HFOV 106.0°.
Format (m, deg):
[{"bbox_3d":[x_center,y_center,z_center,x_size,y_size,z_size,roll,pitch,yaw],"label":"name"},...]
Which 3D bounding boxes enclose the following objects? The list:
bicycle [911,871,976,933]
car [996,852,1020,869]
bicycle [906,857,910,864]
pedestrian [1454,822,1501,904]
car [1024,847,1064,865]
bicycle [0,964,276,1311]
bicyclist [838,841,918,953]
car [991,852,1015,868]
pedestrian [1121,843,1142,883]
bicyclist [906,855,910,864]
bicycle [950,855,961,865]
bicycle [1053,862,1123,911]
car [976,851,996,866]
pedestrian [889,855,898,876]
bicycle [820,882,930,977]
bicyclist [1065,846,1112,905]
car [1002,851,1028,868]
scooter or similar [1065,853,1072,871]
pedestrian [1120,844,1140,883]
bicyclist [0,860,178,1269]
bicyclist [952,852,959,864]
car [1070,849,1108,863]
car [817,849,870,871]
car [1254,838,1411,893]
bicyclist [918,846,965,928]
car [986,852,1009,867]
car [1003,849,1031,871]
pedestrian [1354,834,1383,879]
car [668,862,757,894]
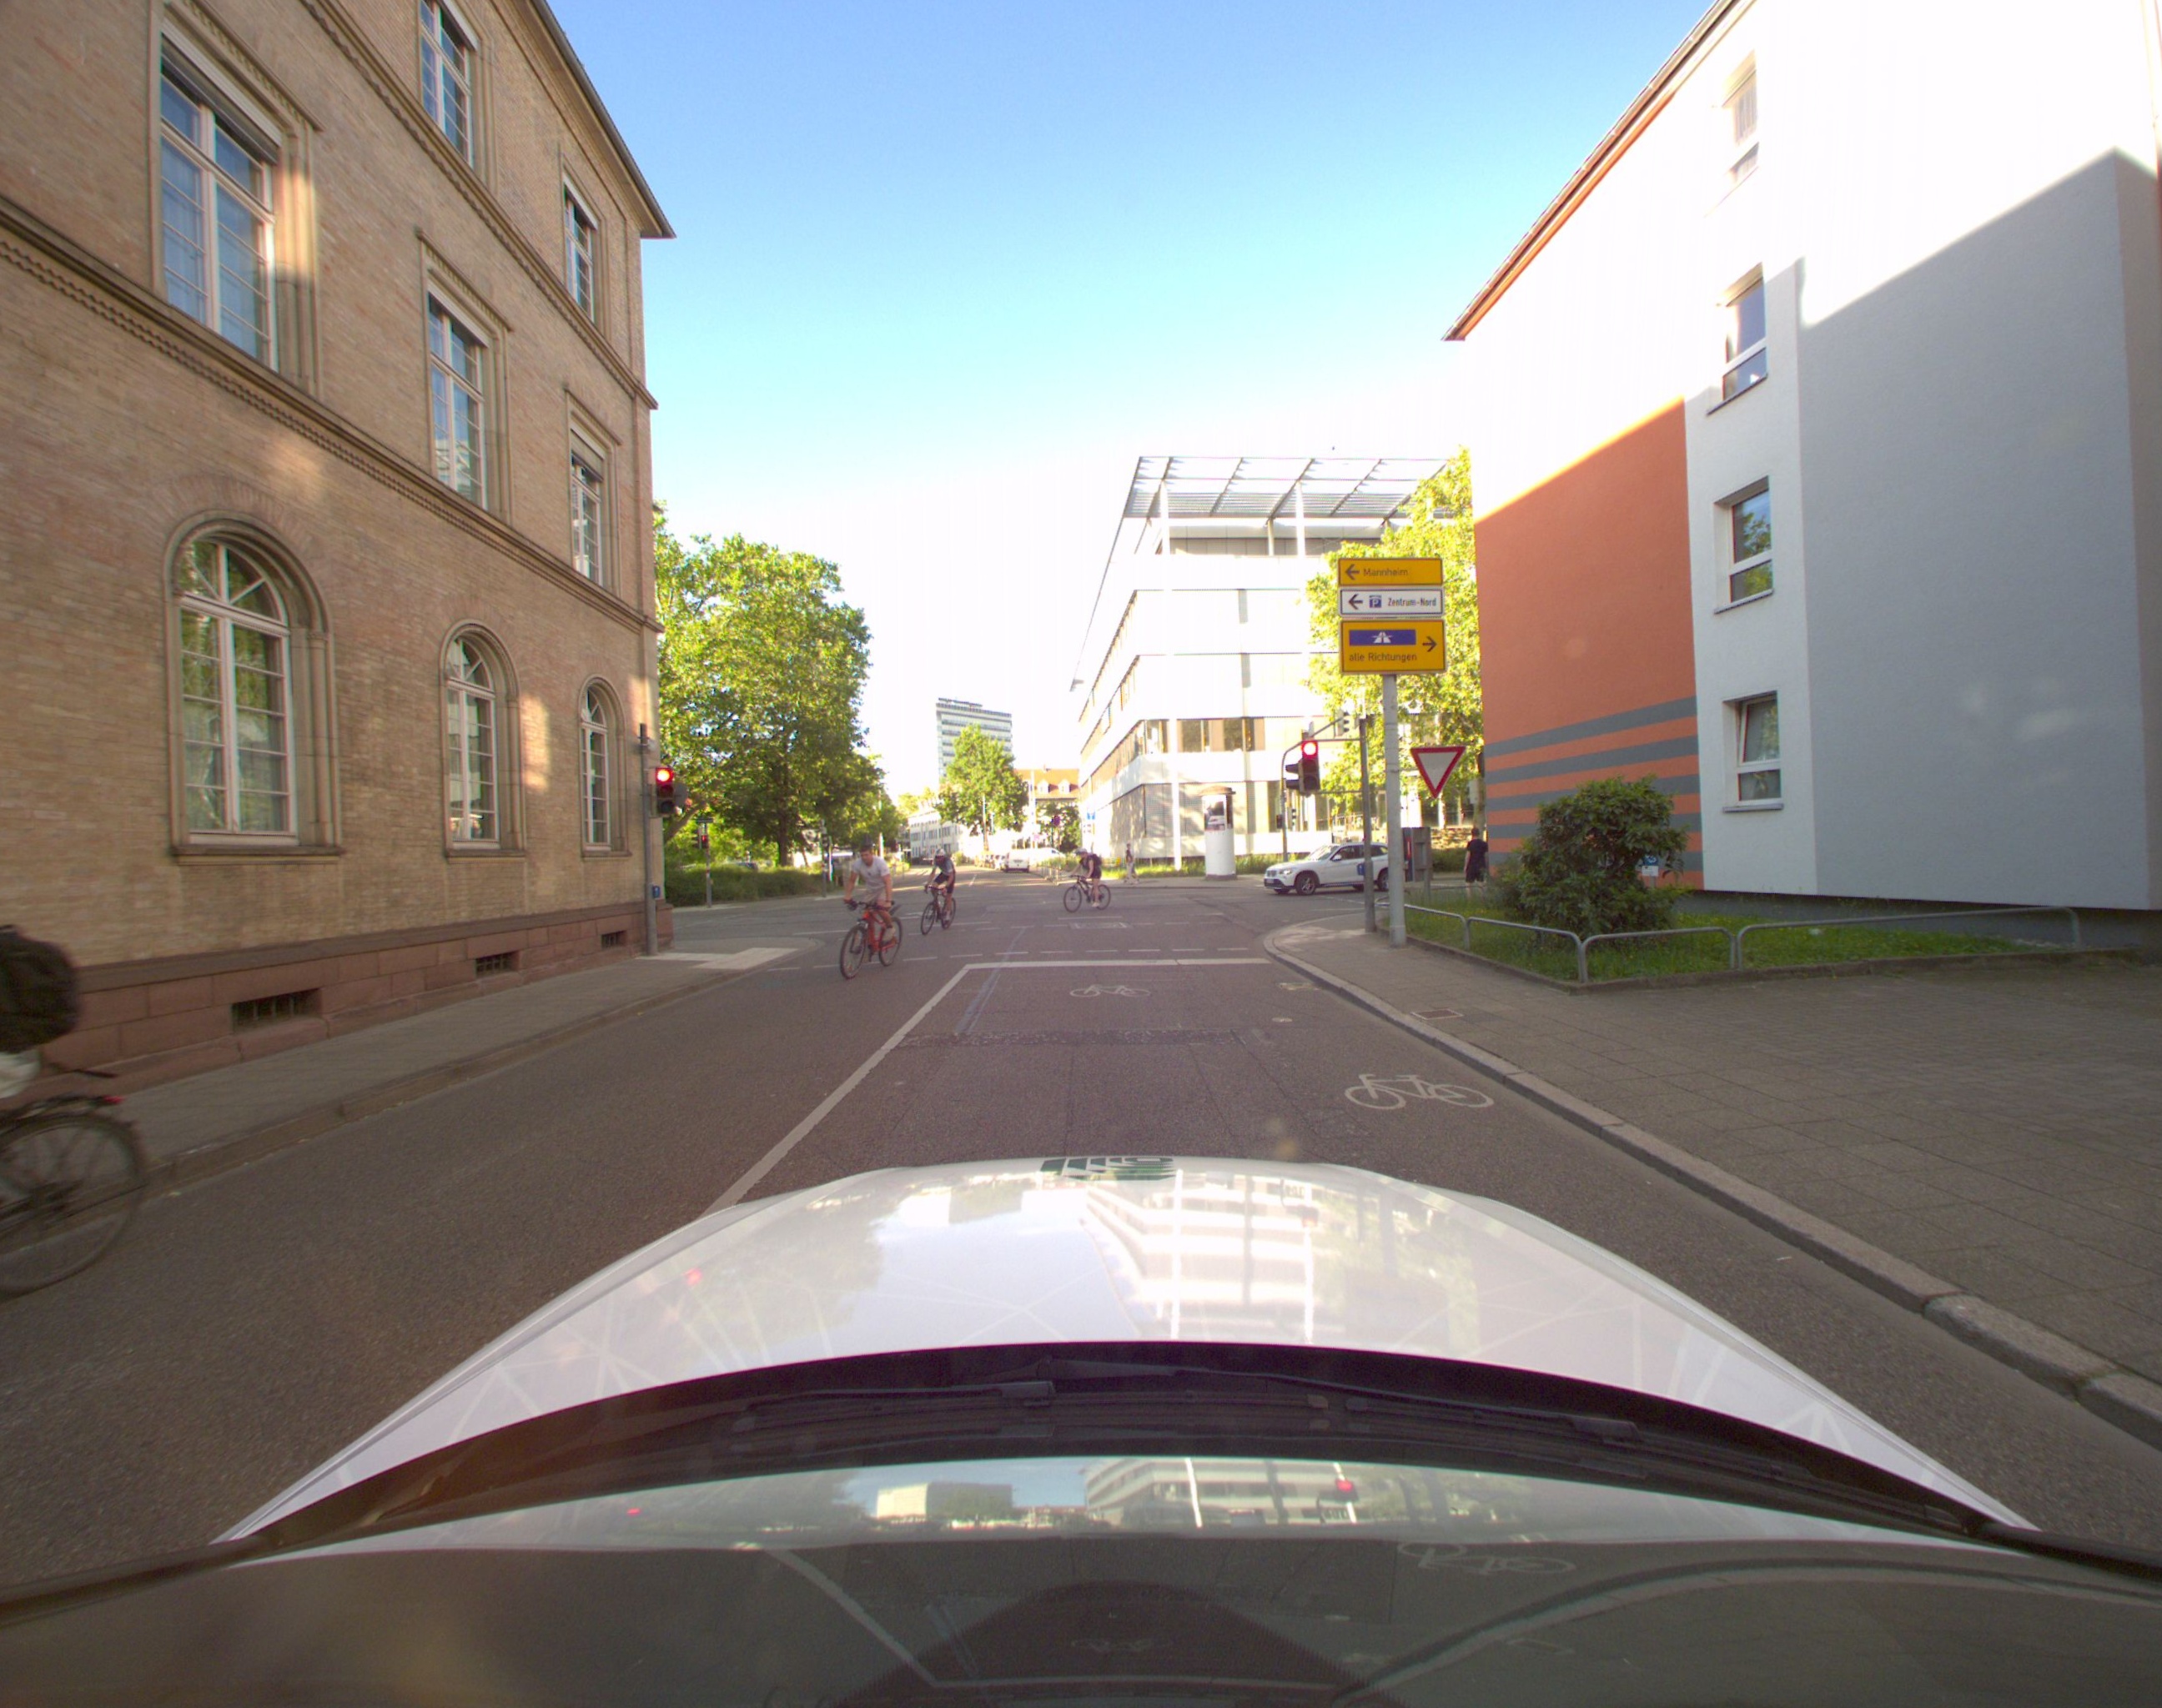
[{"bbox_3d":[-2.821,0.960,16.894,0.621,1.152,1.791,-2,0,14],"label":"bicycle"},{"bbox_3d":[-6.918,0.608,77.154,1.993,1.499,4.638,0,-1,-8],"label":"car"},{"bbox_3d":[-29.499,1.175,138.977,0.616,1.152,1.961,-2,0,-13],"label":"bicycle"},{"bbox_3d":[9.017,0.211,18.518,0.723,1.810,0.693,0,-1,-39],"label":"pedestrian"},{"bbox_3d":[-4.682,0.270,103.251,4.802,2.159,1.989,0,-1,-16],"label":"car"},{"bbox_3d":[-4.350,1.142,3.101,0.589,1.152,1.969,-2,0,-1],"label":"bicycle"},{"bbox_3d":[-2.881,0.594,11.650,0.697,1.522,0.922,-2,0,14],"label":"bicyclist"},{"bbox_3d":[-7.841,0.585,81.628,1.994,1.499,4.270,0,-1,-11],"label":"car"},{"bbox_3d":[2.318,0.411,37.277,0.758,1.795,0.651,-1,-1,19],"label":"pedestrian"},{"bbox_3d":[-29.505,0.909,138.944,0.616,1.472,0.737,-2,0,-13],"label":"bicyclist"},{"bbox_3d":[-15.548,0.764,100.803,0.586,1.152,1.977,-2,0,13],"label":"bicycle"},{"bbox_3d":[0.197,0.807,20.778,1.793,1.152,0.620,-2,0,-40],"label":"bicycle"},{"bbox_3d":[-11.299,0.537,96.305,1.995,1.725,4.633,0,-1,-11],"label":"car"},{"bbox_3d":[-14.750,0.894,64.005,0.700,1.587,0.633,0,-1,-14],"label":"pedestrian"},{"bbox_3d":[-2.881,1.027,11.649,0.621,1.152,1.977,-2,0,14],"label":"bicycle"},{"bbox_3d":[0.190,0.540,20.785,0.979,1.446,0.620,-2,0,-40],"label":"bicyclist"},{"bbox_3d":[-5.845,0.479,71.354,1.993,1.499,4.638,0,-1,-8],"label":"car"},{"bbox_3d":[-0.910,0.581,58.477,0.436,1.256,1.418,-2,0,-2],"label":"scooter or similar"},{"bbox_3d":[2.195,0.414,36.374,0.758,1.719,0.651,-1,-1,19],"label":"pedestrian"},{"bbox_3d":[-4.370,0.803,3.109,0.589,1.527,1.078,-2,0,-1],"label":"bicyclist"},{"bbox_3d":[-15.565,0.525,100.786,0.586,1.396,0.750,-2,0,12],"label":"bicyclist"},{"bbox_3d":[1.024,0.252,104.958,4.644,1.725,1.990,0,-1,-15],"label":"car"},{"bbox_3d":[-22.022,0.533,75.769,4.441,2.014,1.995,0,-1,-8],"label":"car"},{"bbox_3d":[7.758,0.319,25.183,4.359,1.514,1.711,-2,0,-13],"label":"car"},{"bbox_3d":[-2.862,0.652,16.757,0.621,1.628,0.829,-2,0,14],"label":"bicyclist"},{"bbox_3d":[-8.882,0.591,86.381,1.994,1.499,4.635,0,-1,-10],"label":"car"},{"bbox_3d":[-5.169,0.468,65.120,1.992,1.725,4.640,0,-1,-7],"label":"car"},{"bbox_3d":[11.817,0.105,33.516,0.911,1.815,0.762,0,-1,1],"label":"pedestrian"},{"bbox_3d":[-17.079,1.098,37.903,3.407,1.457,1.646,0,-1,-8],"label":"car"}]
